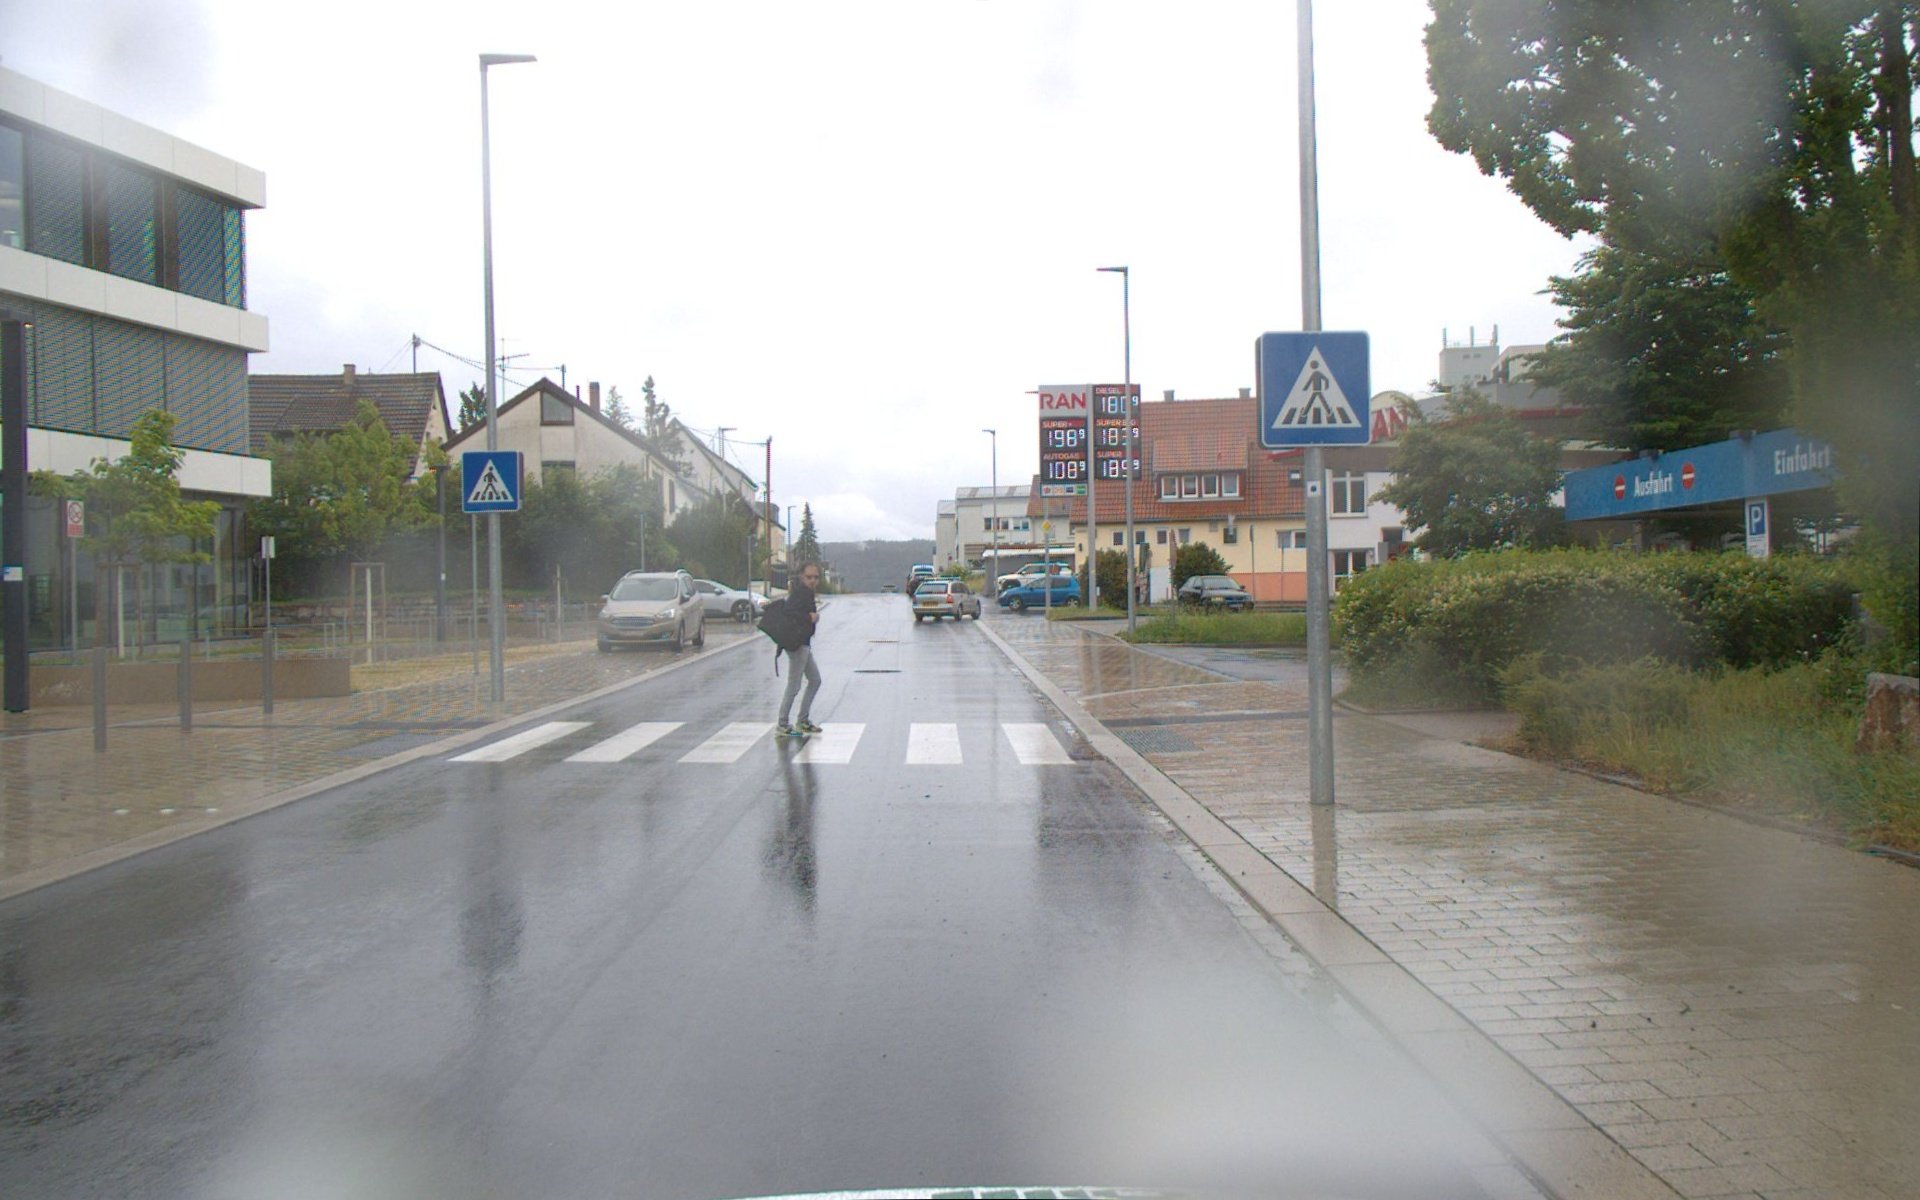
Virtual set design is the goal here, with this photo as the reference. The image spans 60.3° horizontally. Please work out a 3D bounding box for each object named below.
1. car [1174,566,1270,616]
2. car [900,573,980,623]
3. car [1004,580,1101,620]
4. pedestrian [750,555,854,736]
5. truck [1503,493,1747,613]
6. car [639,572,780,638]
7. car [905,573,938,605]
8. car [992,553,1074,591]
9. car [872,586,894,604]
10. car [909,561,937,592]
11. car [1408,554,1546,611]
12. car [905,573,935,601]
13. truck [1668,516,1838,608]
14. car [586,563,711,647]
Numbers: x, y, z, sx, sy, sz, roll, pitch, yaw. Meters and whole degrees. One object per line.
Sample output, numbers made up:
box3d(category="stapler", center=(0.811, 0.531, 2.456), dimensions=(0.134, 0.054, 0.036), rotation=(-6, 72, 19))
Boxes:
box3d(category="car", center=(9.107, -0.271, 57.823), dimensions=(1.959, 1.579, 3.987), rotation=(3, -2, -13))
box3d(category="car", center=(-0.689, -0.042, 60.135), dimensions=(1.907, 1.583, 4.002), rotation=(2, -2, 14))
box3d(category="car", center=(4.077, 0.006, 72.650), dimensions=(3.903, 1.519, 1.859), rotation=(2, -2, 17))
box3d(category="pedestrian", center=(-1.558, 0.438, 16.468), dimensions=(0.993, 1.754, 0.772), rotation=(0, 0, -4))
box3d(category="truck", center=(22.460, -1.511, 55.918), dimensions=(7.597, 3.504, 2.668), rotation=(3, -2, -17))
box3d(category="car", center=(-8.748, 0.182, 58.142), dimensions=(4.661, 2.049, 1.998), rotation=(3, -2, -5))
box3d(category="car", center=(-2.347, -0.673, 101.305), dimensions=(1.953, 1.736, 3.998), rotation=(3, -1, -1))
box3d(category="car", center=(3.761, -1.439, 85.657), dimensions=(4.032, 1.736, 1.787), rotation=(3, -2, -4))
box3d(category="car", center=(-8.115, -0.511, 174.247), dimensions=(2.110, 1.736, 3.998), rotation=(3, -1, -1))
box3d(category="car", center=(-2.413, -1.513, 108.054), dimensions=(1.747, 1.736, 3.998), rotation=(3, -1, -1))
box3d(category="car", center=(15.193, -0.475, 48.650), dimensions=(3.466, 1.583, 1.942), rotation=(1, -1, -21))
box3d(category="car", center=(-2.747, -0.890, 114.374), dimensions=(1.953, 1.736, 3.998), rotation=(3, -1, -1))
box3d(category="truck", center=(19.735, -0.890, 41.348), dimensions=(1.956, 2.049, 3.993), rotation=(3, -2, -7))
box3d(category="car", center=(-6.642, 0.080, 35.651), dimensions=(1.953, 1.657, 4.152), rotation=(-1, 1, -1))
